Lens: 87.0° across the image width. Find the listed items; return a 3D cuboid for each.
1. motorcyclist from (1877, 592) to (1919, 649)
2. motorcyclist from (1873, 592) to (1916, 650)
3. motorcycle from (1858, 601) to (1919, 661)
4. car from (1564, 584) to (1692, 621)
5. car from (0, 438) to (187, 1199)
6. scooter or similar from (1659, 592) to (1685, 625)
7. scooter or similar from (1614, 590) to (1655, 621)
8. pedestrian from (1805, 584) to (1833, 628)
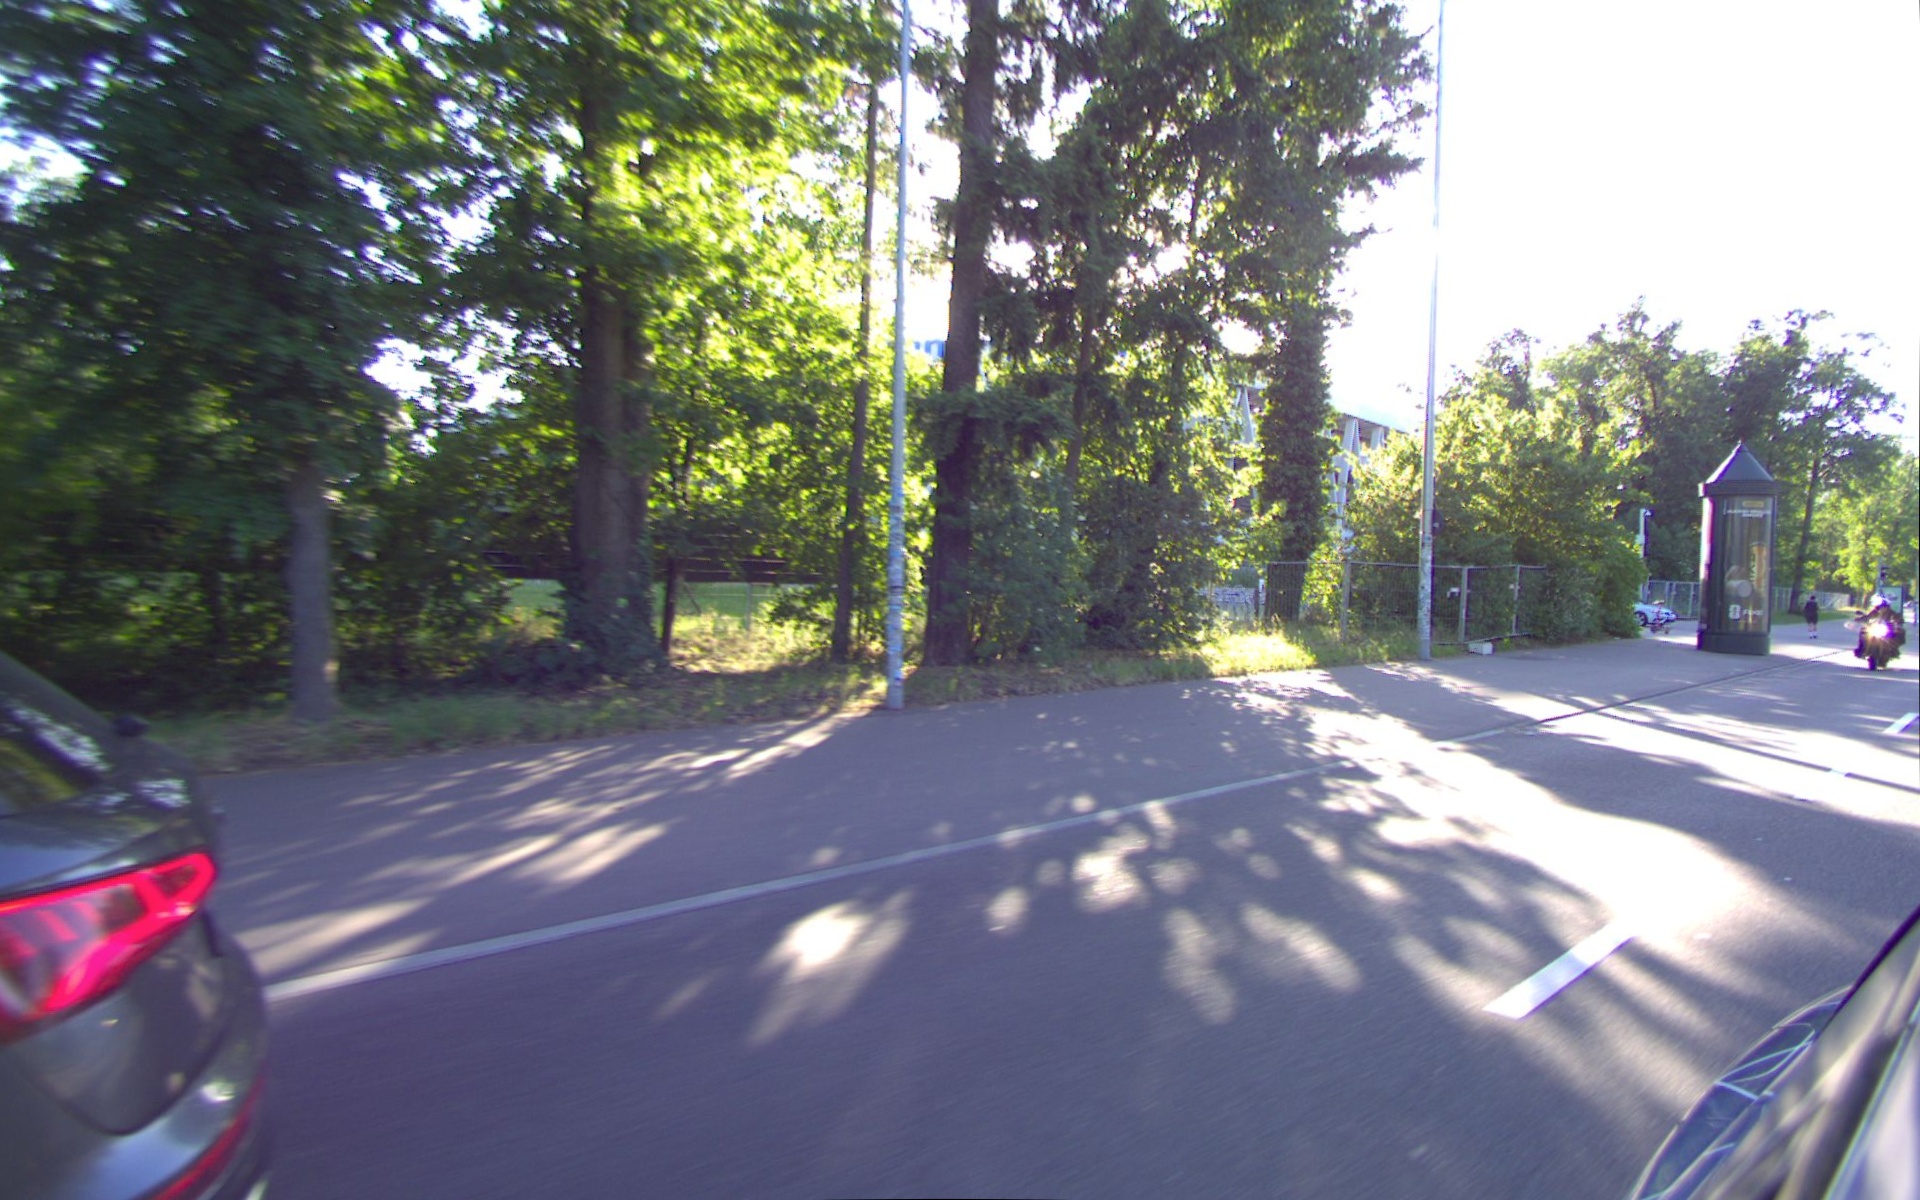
[{"bbox_3d":[21.562,0.452,23.271,0.812,1.280,0.670,0,0,-44],"label":"motorcyclist"},{"bbox_3d":[20.922,0.457,22.659,0.812,1.280,0.670,0,0,-44],"label":"motorcyclist"},{"bbox_3d":[20.946,0.659,22.747,2.913,1.266,0.914,0,-2,-44],"label":"motorcycle"},{"bbox_3d":[29.621,0.064,45.005,1.785,1.395,4.389,0,3,-34],"label":"car"},{"bbox_3d":[-3.308,0.618,0.580,4.465,1.625,1.896,0,0,-41],"label":"car"},{"bbox_3d":[26.082,0.312,37.073,1.382,1.186,0.282,1,2,-35],"label":"scooter or similar"},{"bbox_3d":[27.239,0.221,40.867,0.387,1.160,1.270,-1,4,-35],"label":"scooter or similar"},{"bbox_3d":[33.675,0.233,39.691,0.866,1.709,0.628,0,0,-34],"label":"pedestrian"}]
